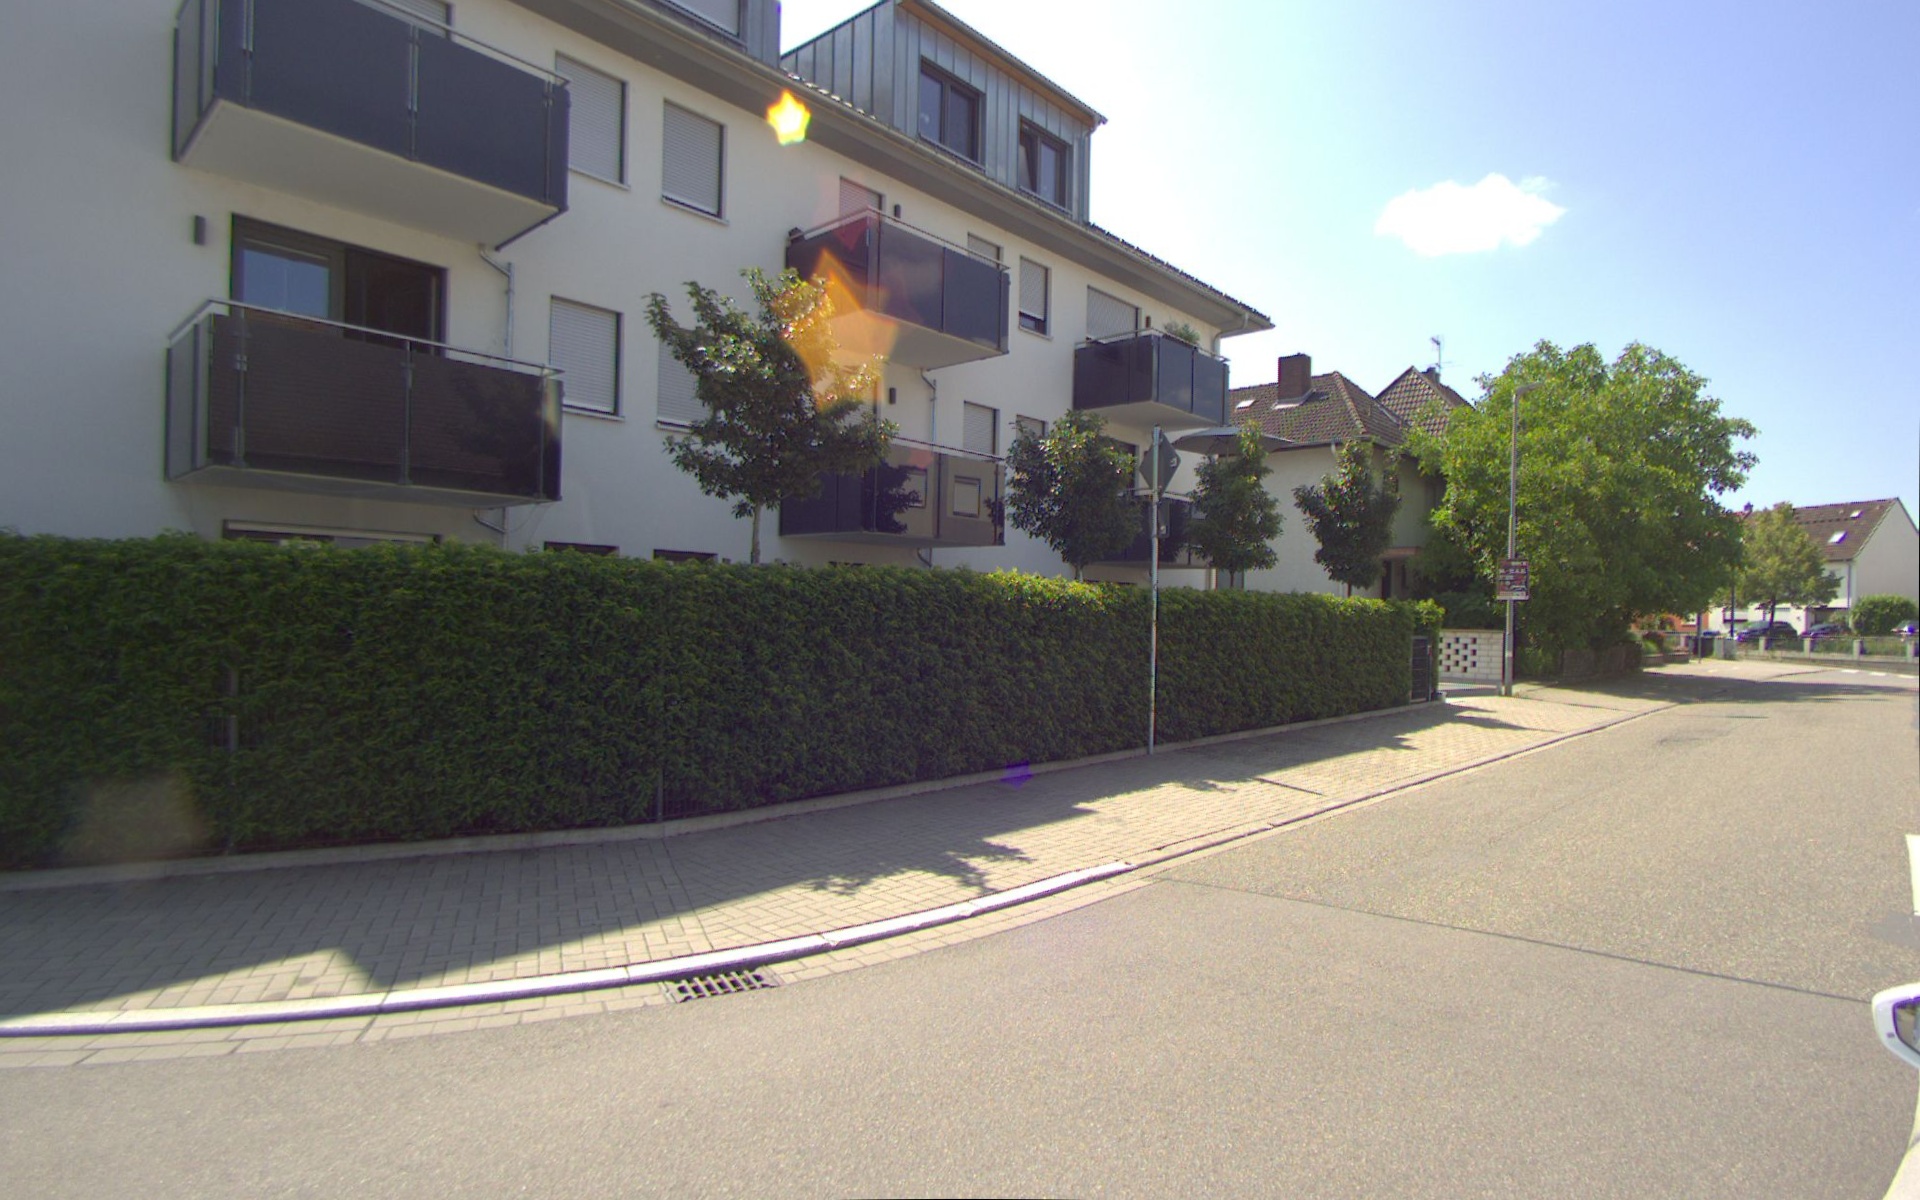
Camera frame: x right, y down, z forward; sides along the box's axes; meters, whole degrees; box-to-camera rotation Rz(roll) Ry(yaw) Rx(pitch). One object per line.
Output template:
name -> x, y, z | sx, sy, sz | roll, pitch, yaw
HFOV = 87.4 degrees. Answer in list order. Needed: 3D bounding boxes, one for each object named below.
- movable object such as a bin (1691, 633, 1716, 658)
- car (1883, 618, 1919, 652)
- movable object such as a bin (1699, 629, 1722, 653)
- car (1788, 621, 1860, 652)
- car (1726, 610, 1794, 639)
movable object such as a bin -> 38.414, 2.358, 51.895 | 0.896, 1.241, 0.876 | 2, 0, -44
car -> 56.686, 2.172, 59.077 | 3.940, 1.821, 1.864 | 4, 2, -20
movable object such as a bin -> 40.634, 2.197, 54.410 | 0.827, 1.229, 1.274 | 2, 0, 31
car -> 54.788, 2.297, 63.704 | 3.556, 1.607, 1.864 | 4, 2, -20
car -> 53.559, 1.658, 67.260 | 3.556, 1.607, 1.864 | 4, 2, -20
